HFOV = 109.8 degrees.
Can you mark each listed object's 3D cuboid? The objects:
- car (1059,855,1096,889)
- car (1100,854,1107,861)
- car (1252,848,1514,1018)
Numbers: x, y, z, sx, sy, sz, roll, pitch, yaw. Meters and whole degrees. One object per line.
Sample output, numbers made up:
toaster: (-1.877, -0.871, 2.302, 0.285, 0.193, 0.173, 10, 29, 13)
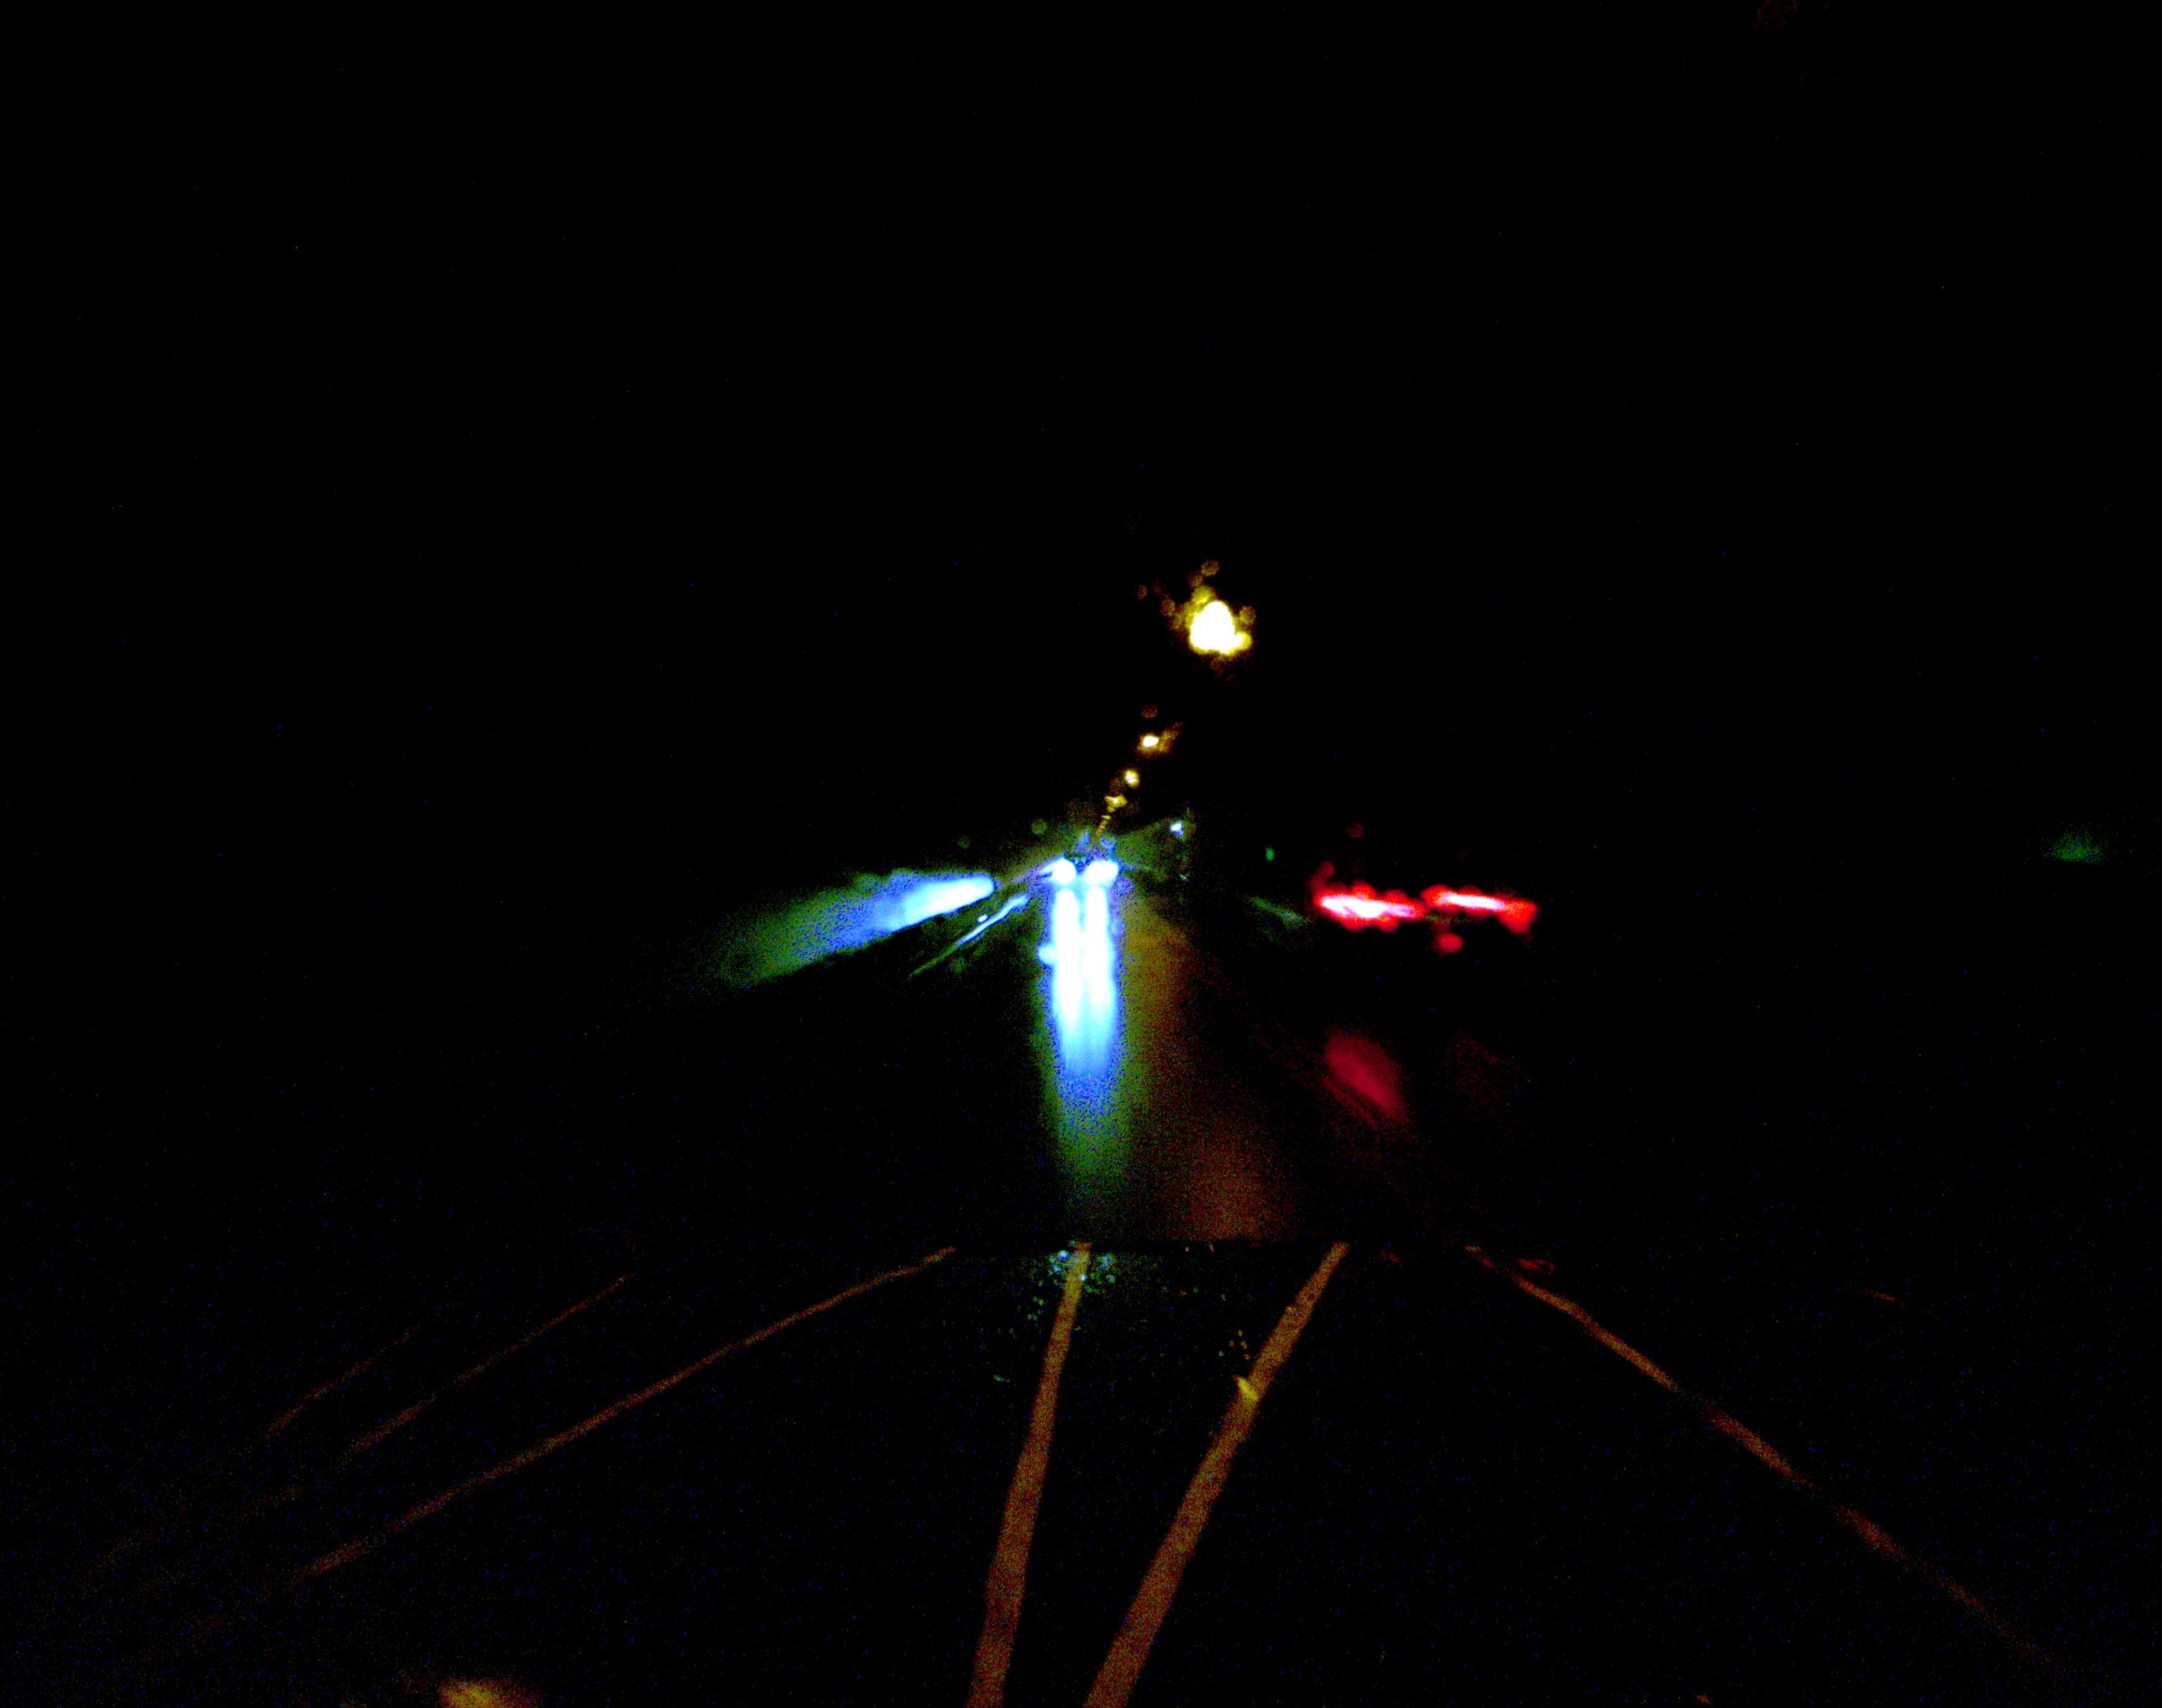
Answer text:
car: (-0.128, 0.842, 36.627, 1.627, 1.487, 3.585, -1, -1, 2)
car: (5.142, 0.756, 175.779, 1.639, 1.526, 3.646, -1, -1, 2)
car: (3.361, 0.783, 9.357, 1.639, 1.593, 4.146, -1, -1, 2)
